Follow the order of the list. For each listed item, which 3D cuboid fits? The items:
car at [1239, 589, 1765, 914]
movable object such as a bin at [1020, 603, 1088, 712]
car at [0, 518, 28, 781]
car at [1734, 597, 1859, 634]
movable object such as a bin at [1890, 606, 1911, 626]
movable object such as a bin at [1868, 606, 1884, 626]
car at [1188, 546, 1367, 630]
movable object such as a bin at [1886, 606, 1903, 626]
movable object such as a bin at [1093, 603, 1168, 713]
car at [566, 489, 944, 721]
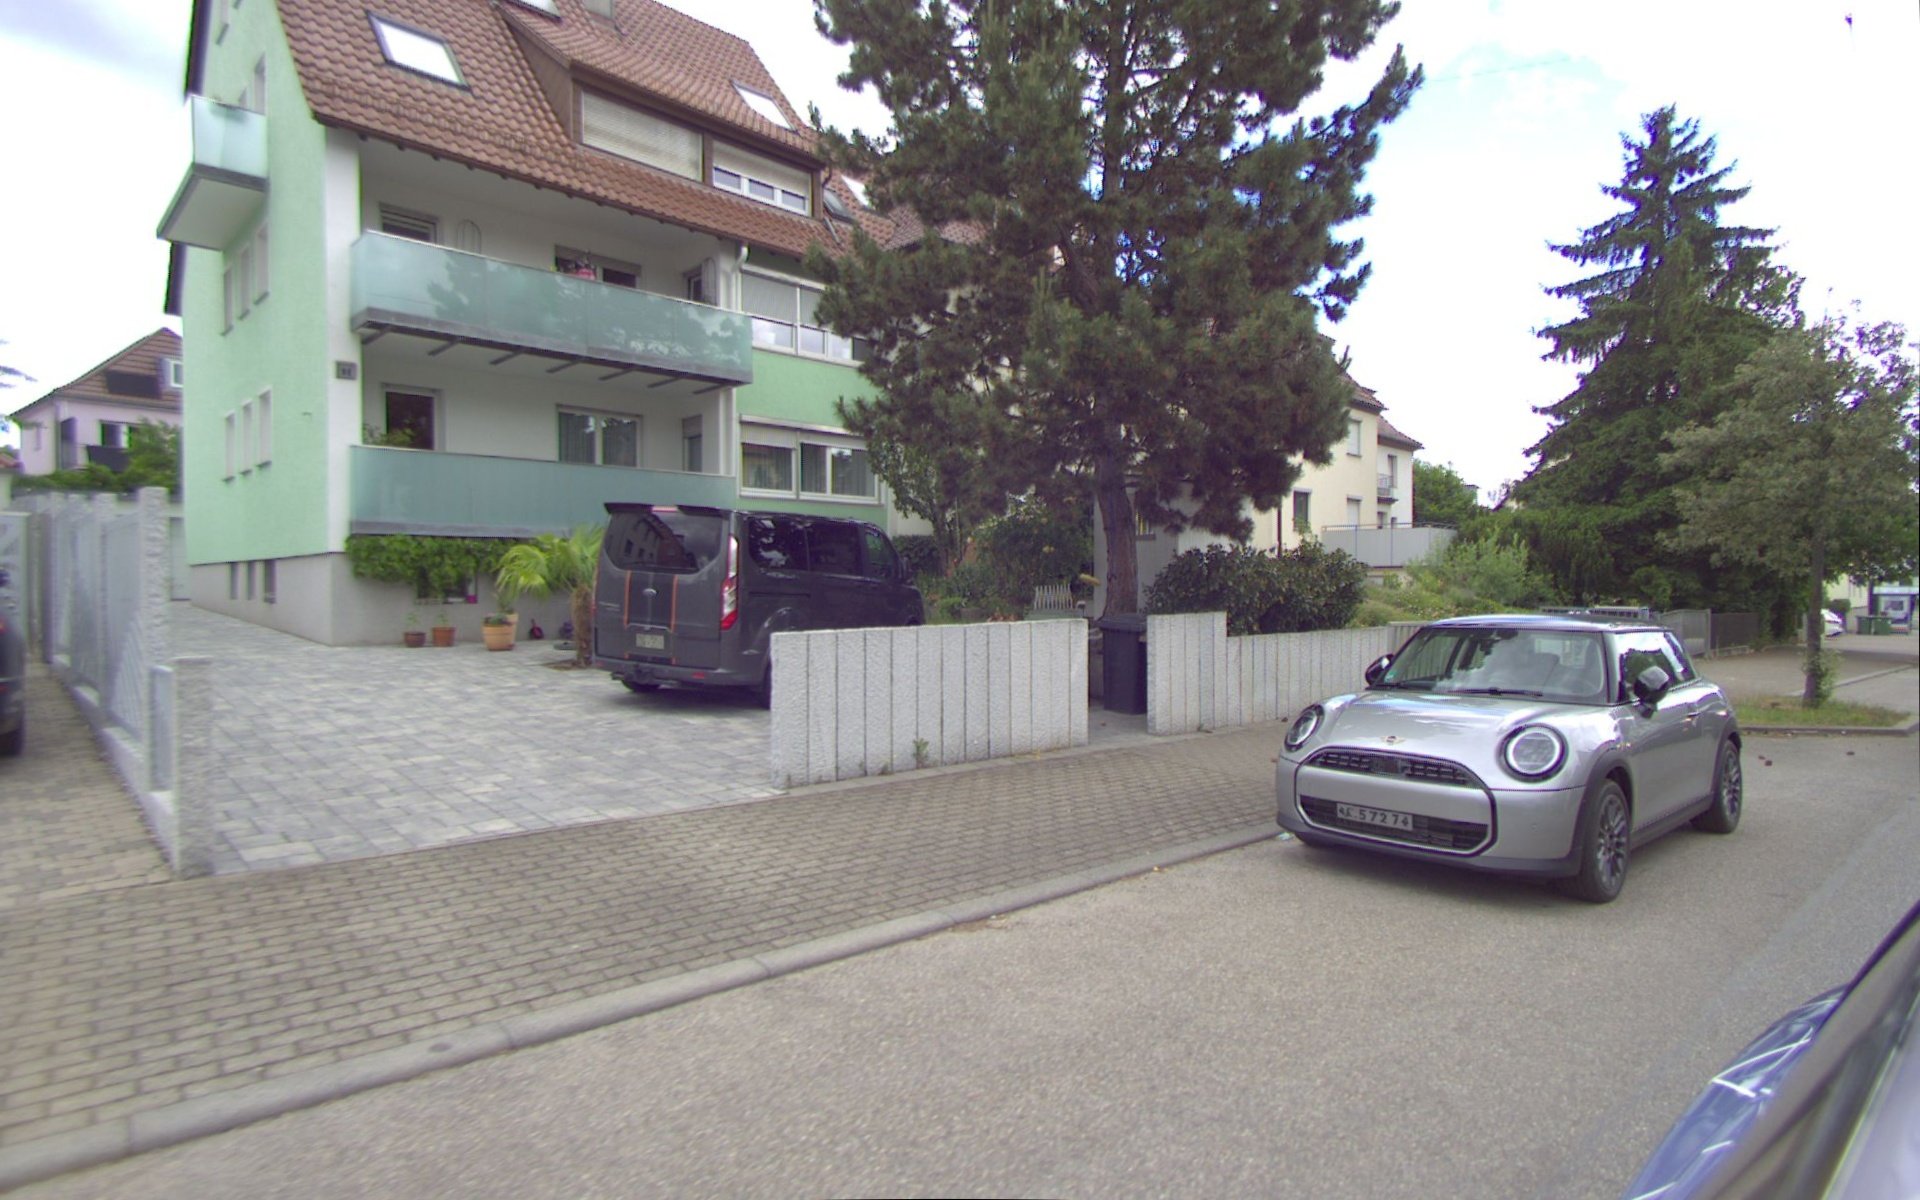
[{"bbox_3d":[3.613,0.660,6.429,3.930,1.400,1.653,-1,1,-41],"label":"car"},{"bbox_3d":[1.034,0.611,11.051,0.586,1.069,0.612,4,5,15],"label":"movable object such as a bin"},{"bbox_3d":[-7.660,0.181,6.803,4.260,1.524,1.670,5,5,42],"label":"car"},{"bbox_3d":[40.476,0.722,49.067,1.833,1.506,4.427,-1,3,-42],"label":"car"},{"bbox_3d":[51.866,0.895,55.808,0.579,1.060,0.639,-1,0,-17],"label":"movable object such as a bin"},{"bbox_3d":[50.645,0.897,55.945,0.635,1.059,0.577,1,1,41],"label":"movable object such as a bin"},{"bbox_3d":[8.195,-0.404,26.364,1.855,1.722,3.994,-3,8,-44],"label":"car"},{"bbox_3d":[51.194,0.892,55.442,0.635,1.060,0.577,-1,0,41],"label":"movable object such as a bin"},{"bbox_3d":[1.858,0.615,11.024,0.589,1.069,0.609,5,5,28],"label":"movable object such as a bin"},{"bbox_3d":[-2.043,-0.108,11.665,1.957,2.037,4.691,4,4,22],"label":"car"}]
